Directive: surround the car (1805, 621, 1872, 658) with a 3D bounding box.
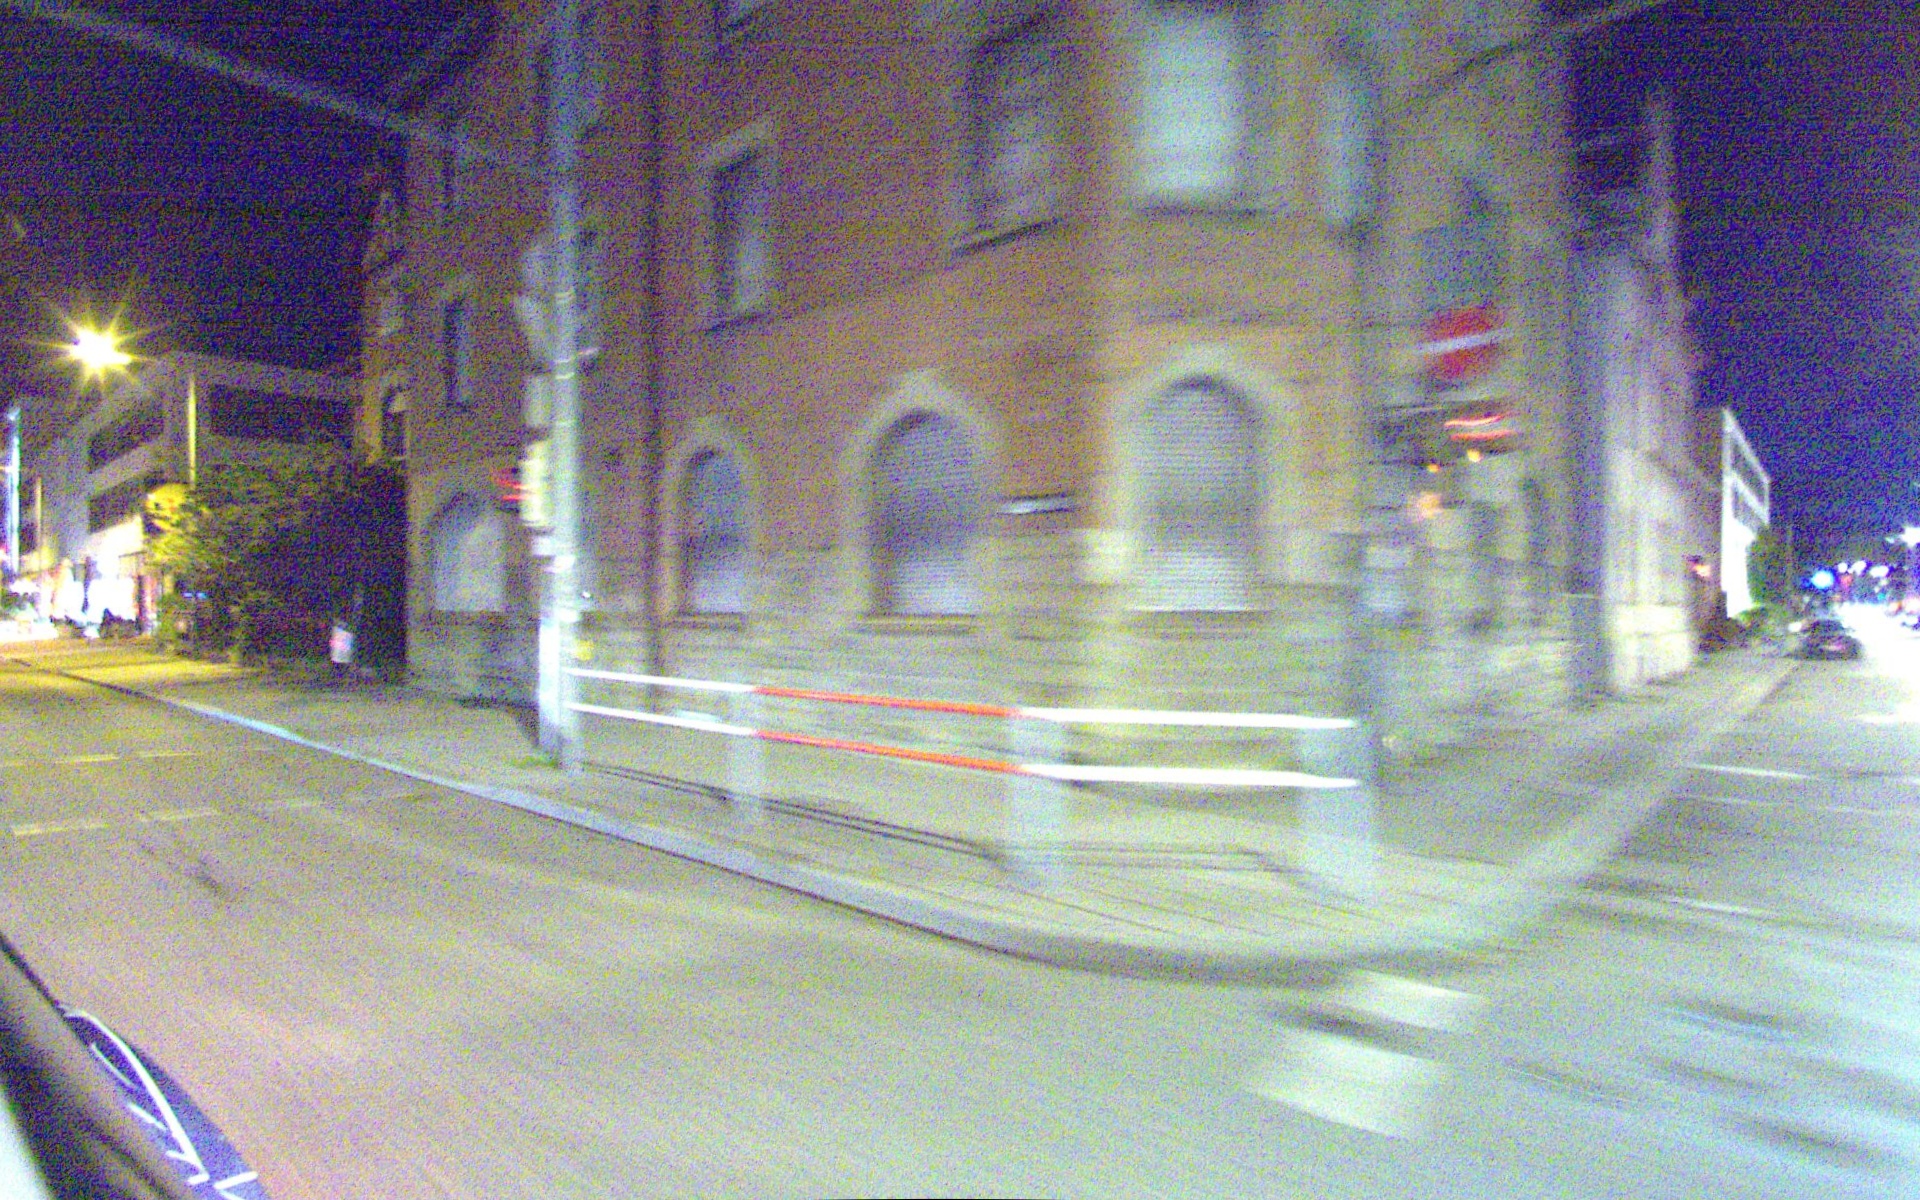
[{"bbox_3d":[34.851,1.537,40.227,1.872,1.390,3.947,-1,-2,39],"label":"car"}]

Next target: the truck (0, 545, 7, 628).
[{"bbox_3d":[-37.283,-0.042,36.764,10.108,3.746,2.726,-1,-4,41],"label":"truck"}]

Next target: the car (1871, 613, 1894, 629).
[{"bbox_3d":[106.685,2.428,117.056,1.715,1.718,3.804,0,1,39],"label":"car"}]
